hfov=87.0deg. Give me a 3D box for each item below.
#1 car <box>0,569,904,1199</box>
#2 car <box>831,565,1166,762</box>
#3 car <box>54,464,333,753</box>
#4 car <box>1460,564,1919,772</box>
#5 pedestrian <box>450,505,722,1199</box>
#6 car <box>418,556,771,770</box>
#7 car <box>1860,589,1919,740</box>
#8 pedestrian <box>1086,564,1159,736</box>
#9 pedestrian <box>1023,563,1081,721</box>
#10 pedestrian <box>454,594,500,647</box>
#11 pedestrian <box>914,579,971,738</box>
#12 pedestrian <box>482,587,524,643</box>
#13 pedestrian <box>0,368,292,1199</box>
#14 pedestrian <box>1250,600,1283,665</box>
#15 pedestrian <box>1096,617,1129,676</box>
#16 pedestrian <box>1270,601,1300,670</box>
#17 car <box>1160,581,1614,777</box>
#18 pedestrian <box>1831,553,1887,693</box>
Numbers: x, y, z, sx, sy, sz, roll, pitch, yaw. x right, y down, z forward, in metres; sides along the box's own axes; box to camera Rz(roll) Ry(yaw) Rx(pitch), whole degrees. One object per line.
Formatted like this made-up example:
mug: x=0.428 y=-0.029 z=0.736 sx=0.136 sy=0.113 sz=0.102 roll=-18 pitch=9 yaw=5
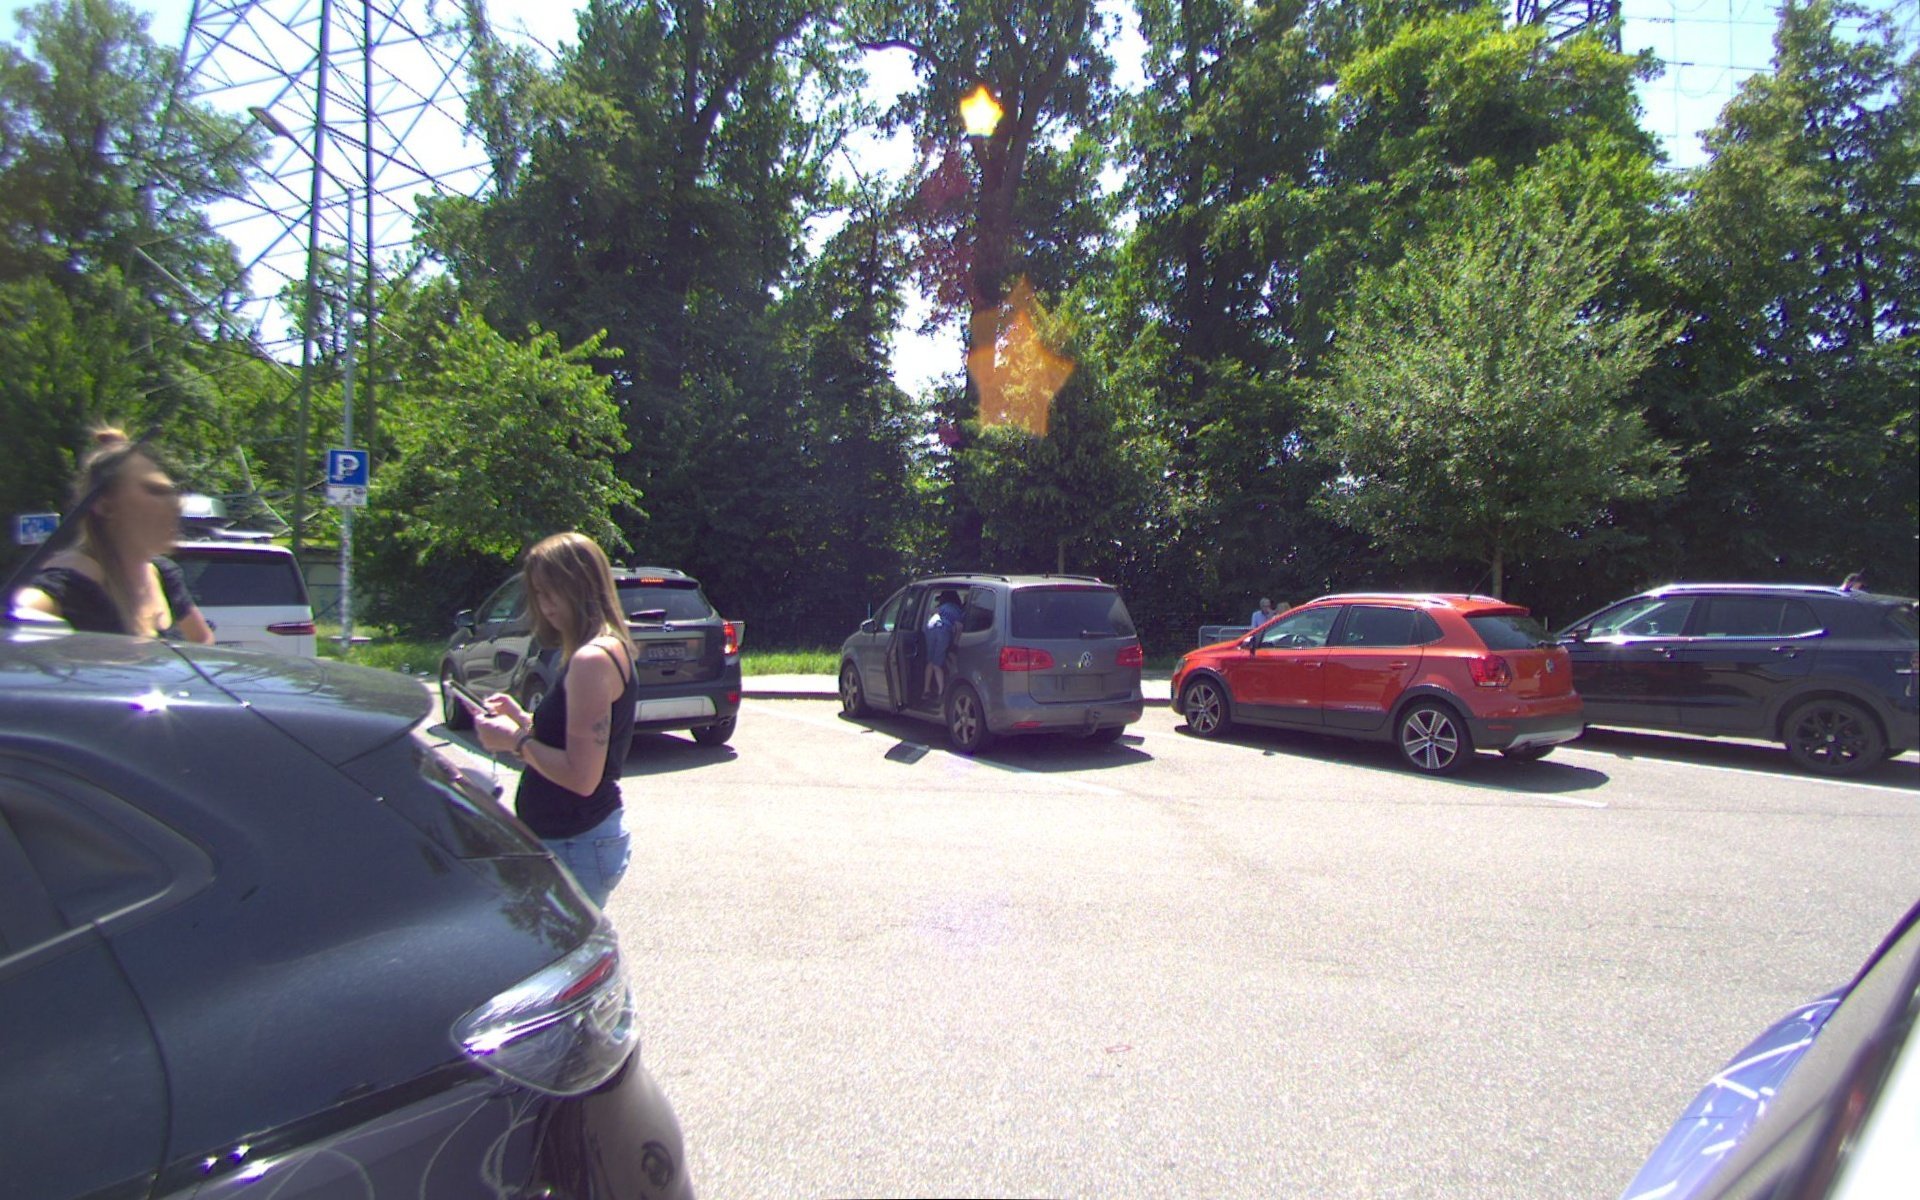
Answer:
car: x=-1.981 y=0.719 z=0.860 sx=3.626 sy=1.476 sz=1.777 roll=-1 pitch=0 yaw=-45
car: x=0.193 y=0.517 z=10.562 sx=1.670 sy=1.637 sz=3.912 roll=0 pitch=0 yaw=-30
car: x=-8.418 y=0.062 z=10.905 sx=1.897 sy=2.400 sz=4.963 roll=1 pitch=-1 yaw=-43
car: x=7.140 y=0.532 z=9.709 sx=1.679 sy=1.637 sz=3.863 roll=1 pitch=0 yaw=-40
pedestrian: x=-0.958 y=0.595 z=2.590 sx=0.477 sy=1.614 sz=0.502 roll=1 pitch=-1 yaw=-44
car: x=-3.737 y=0.475 z=9.906 sx=1.807 sy=1.637 sz=4.159 roll=1 pitch=0 yaw=-42
car: x=10.929 y=0.646 z=9.242 sx=1.813 sy=1.473 sz=3.776 roll=1 pitch=0 yaw=-36
pedestrian: x=1.696 y=0.501 z=10.591 sx=0.576 sy=1.744 sz=0.483 roll=0 pitch=0 yaw=-20
pedestrian: x=1.040 y=0.458 z=11.492 sx=0.500 sy=1.744 sz=0.438 roll=0 pitch=0 yaw=-24
pedestrian: x=-11.032 y=0.458 z=23.108 sx=0.785 sy=1.178 sz=0.696 roll=0 pitch=0 yaw=39
pedestrian: x=-0.178 y=0.558 z=9.957 sx=0.511 sy=1.516 sz=0.560 roll=0 pitch=0 yaw=-5
pedestrian: x=-11.104 y=0.355 z=24.592 sx=0.539 sy=1.318 sz=0.758 roll=0 pitch=0 yaw=37
pedestrian: x=-1.888 y=0.505 z=2.388 sx=0.478 sy=1.883 sz=0.913 roll=1 pitch=-1 yaw=-33
pedestrian: x=5.779 y=0.606 z=19.084 sx=0.433 sy=1.207 sz=0.414 roll=0 pitch=0 yaw=-30
pedestrian: x=2.372 y=0.711 z=15.694 sx=0.494 sy=0.890 sz=0.512 roll=0 pitch=0 yaw=10
pedestrian: x=5.754 y=0.616 z=17.907 sx=0.348 sy=1.207 sz=0.367 roll=0 pitch=0 yaw=-20
car: x=3.840 y=0.601 z=9.678 sx=1.588 sy=1.485 sz=3.751 roll=1 pitch=0 yaw=-34
pedestrian: x=12.989 y=0.325 z=14.636 sx=0.570 sy=1.979 sz=0.425 roll=0 pitch=-1 yaw=38
